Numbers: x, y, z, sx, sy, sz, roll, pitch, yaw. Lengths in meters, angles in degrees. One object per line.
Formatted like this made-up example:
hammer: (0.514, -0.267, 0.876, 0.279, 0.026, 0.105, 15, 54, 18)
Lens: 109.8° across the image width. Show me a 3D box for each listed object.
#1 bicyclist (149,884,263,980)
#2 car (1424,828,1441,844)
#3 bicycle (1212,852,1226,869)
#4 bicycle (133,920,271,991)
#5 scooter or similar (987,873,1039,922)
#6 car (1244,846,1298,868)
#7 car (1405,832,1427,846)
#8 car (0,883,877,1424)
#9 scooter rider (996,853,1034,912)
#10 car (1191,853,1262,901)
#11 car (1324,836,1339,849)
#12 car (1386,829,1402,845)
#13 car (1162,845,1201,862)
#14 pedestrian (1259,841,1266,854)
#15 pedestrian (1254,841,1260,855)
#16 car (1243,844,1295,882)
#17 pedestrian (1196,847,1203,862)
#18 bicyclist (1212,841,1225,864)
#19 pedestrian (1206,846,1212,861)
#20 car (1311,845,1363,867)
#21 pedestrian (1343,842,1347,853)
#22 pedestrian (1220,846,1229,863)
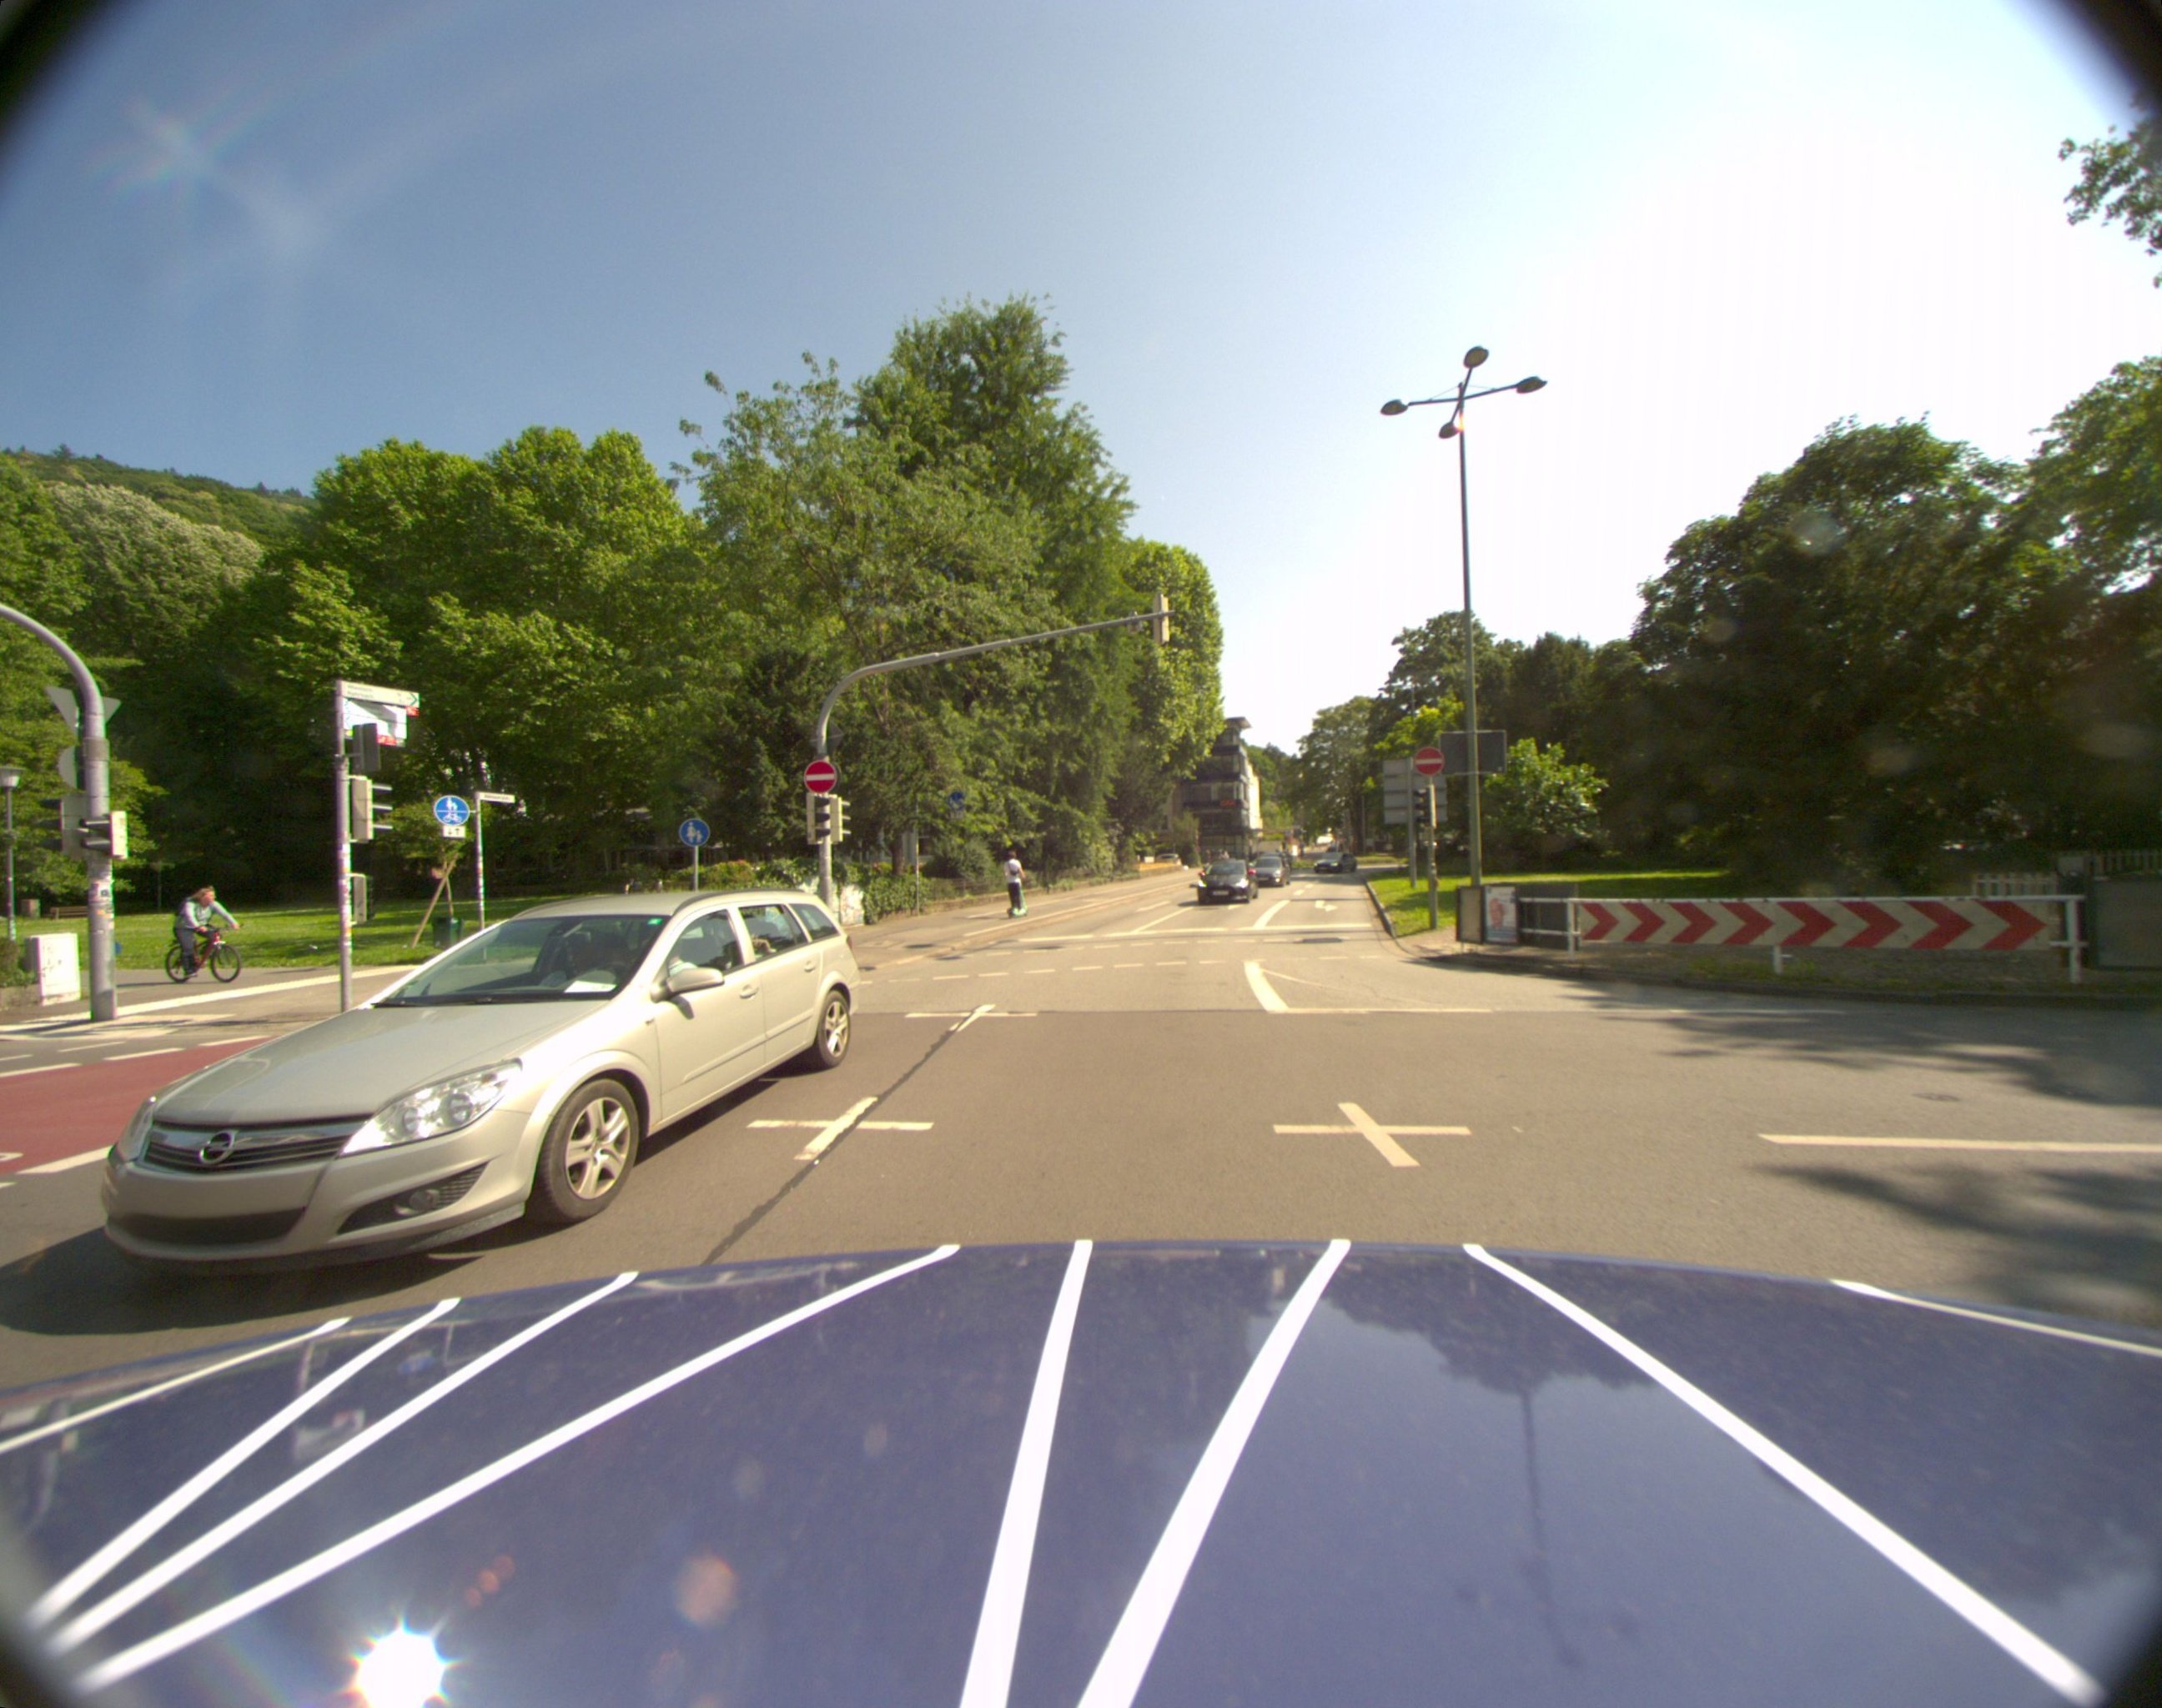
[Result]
bicyclist: (-15.366, 1.347, 13.362, 0.942, 1.566, 0.868, -1, 2, 8)
car: (46.952, -2.397, 101.617, 1.847, 2.002, 4.006, -2, 1, 22)
bicycle: (9.905, 0.434, 54.514, 0.758, 1.114, 2.003, -1, 2, 17)
bicycle: (-15.415, 1.771, 13.347, 1.675, 1.114, 0.784, -2, 1, 9)
scooter or similar: (-1.956, 1.234, 22.133, 0.819, 1.291, 1.698, -1, 2, 21)
car: (13.602, 0.227, 54.317, 1.937, 1.421, 4.558, -1, 1, 39)
car: (40.371, -1.828, 91.732, 1.848, 1.652, 4.004, -2, 1, 16)
car: (-2.932, 1.046, 4.637, 1.711, 1.513, 4.408, -2, 0, 6)
scooter rider: (-1.940, 0.821, 22.235, 0.822, 1.662, 0.710, -1, 2, 22)
car: (5.252, 0.776, 27.051, 1.808, 1.443, 3.958, -1, 2, 20)
car: (34.304, -1.569, 104.133, 1.848, 1.777, 4.005, -2, 0, 18)
car: (41.949, -2.263, 101.771, 1.847, 2.002, 4.006, -2, 1, 22)
car: (10.802, -0.020, 81.445, 3.993, 1.641, 1.758, -2, 0, 12)
pedestrian: (22.678, -0.815, 94.893, 0.601, 1.695, 0.605, -2, 1, 24)
pedestrian: (21.534, -0.760, 92.915, 0.601, 1.695, 0.605, -2, 1, 24)
car: (9.336, 0.397, 37.453, 1.886, 1.674, 4.147, 0, 2, 22)
pedestrian: (14.230, 0.074, 91.059, 0.689, 1.695, 0.603, -2, 1, 14)
bicyclist: (9.914, -0.116, 54.669, 0.765, 1.627, 0.944, -1, 2, 17)
pedestrian: (15.243, -0.055, 90.431, 0.652, 1.695, 0.647, -2, 1, 13)
car: (18.253, 0.116, 54.101, 1.937, 1.421, 4.558, -1, 1, 40)
pedestrian: (39.690, -0.941, 114.227, 0.601, 1.695, 0.605, -2, 1, 19)
pedestrian: (14.054, 0.030, 74.417, 0.710, 1.663, 0.535, -2, 1, 16)
